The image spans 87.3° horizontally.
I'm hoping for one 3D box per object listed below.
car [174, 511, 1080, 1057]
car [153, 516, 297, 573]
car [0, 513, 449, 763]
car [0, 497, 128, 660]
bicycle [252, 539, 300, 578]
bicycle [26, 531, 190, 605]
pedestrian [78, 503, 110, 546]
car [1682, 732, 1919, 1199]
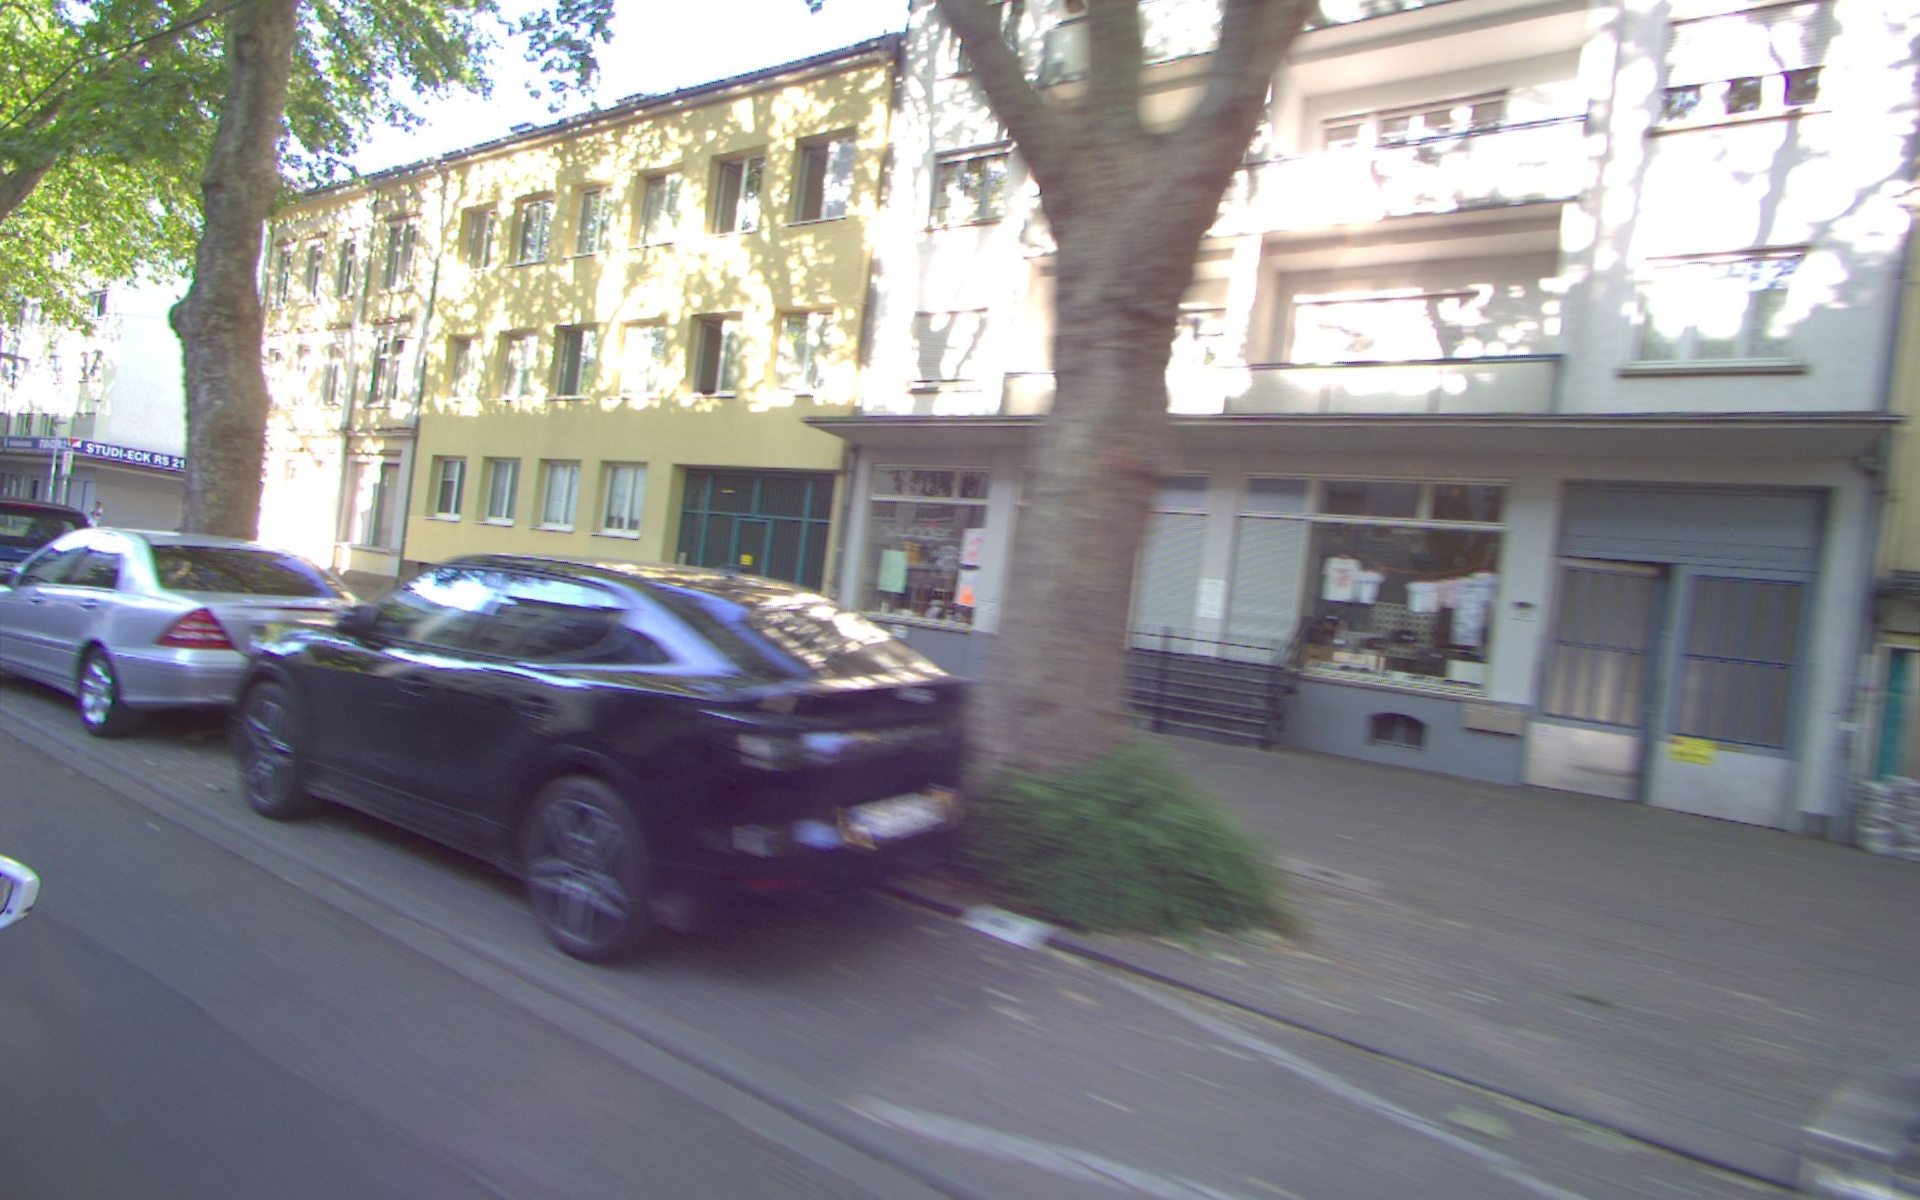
[{"bbox_3d":[-1.962,0.551,5.312,4.703,1.623,1.860,6,0,32],"label":"car"},{"bbox_3d":[-29.511,-2.190,40.529,1.965,1.612,4.142,7,-2,28],"label":"car"},{"bbox_3d":[-6.463,0.162,8.211,4.525,1.453,1.819,6,0,30],"label":"car"},{"bbox_3d":[-10.238,-0.310,10.549,2.865,1.538,1.564,6,0,35],"label":"car"},{"bbox_3d":[-22.717,-1.384,33.400,1.891,1.118,0.583,6,1,33],"label":"bicycle"},{"bbox_3d":[-13.903,-0.507,16.479,1.948,1.019,0.507,5,2,-32],"label":"bicycle"},{"bbox_3d":[-36.357,-3.162,42.248,0.655,1.664,0.747,7,0,34],"label":"pedestrian"},{"bbox_3d":[3.502,1.248,1.056,4.154,1.455,1.867,7,0,30],"label":"car"}]
